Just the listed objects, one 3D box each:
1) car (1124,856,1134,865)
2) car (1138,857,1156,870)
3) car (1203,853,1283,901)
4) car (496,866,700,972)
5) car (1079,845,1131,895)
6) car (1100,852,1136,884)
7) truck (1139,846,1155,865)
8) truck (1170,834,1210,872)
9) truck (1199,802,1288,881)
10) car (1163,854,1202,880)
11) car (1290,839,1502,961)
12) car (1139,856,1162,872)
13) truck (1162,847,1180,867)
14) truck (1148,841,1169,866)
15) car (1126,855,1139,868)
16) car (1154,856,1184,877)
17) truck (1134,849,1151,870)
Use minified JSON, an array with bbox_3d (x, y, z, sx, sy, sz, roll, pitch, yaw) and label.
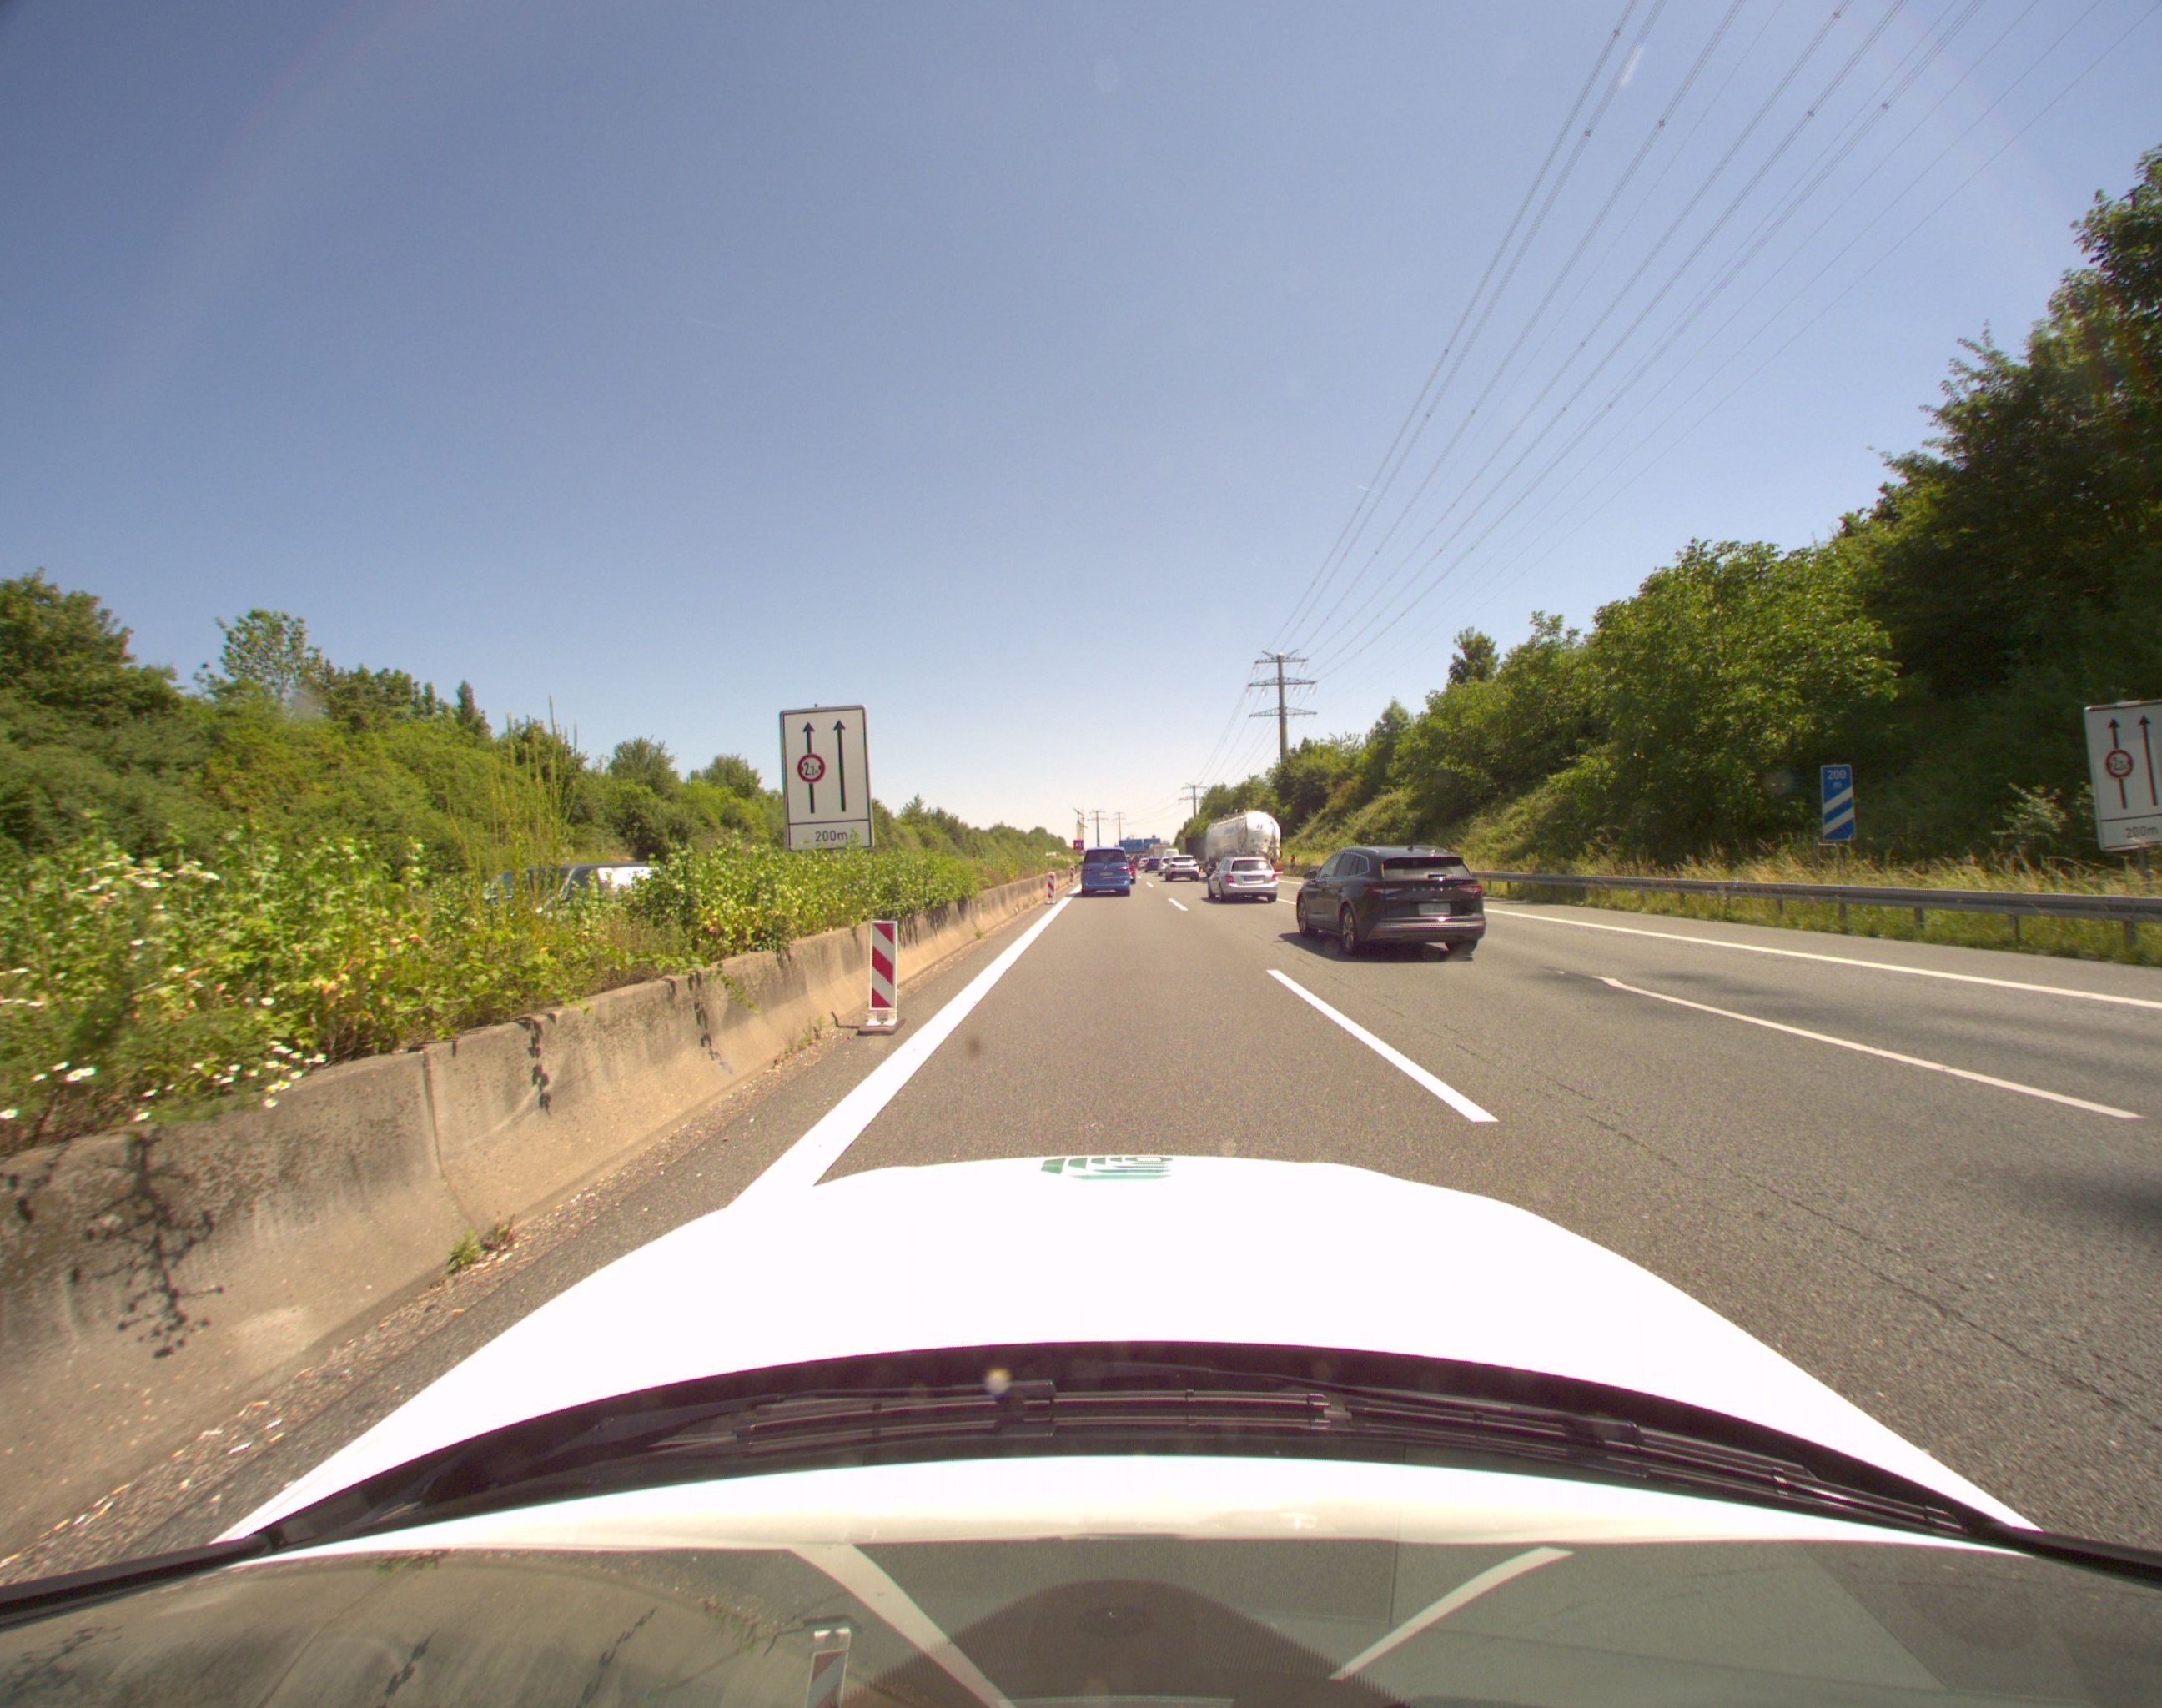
[{"bbox_3d":[10.824,1.472,184.181,1.986,2.014,4.001,0,-1,1],"label":"car"},{"bbox_3d":[7.820,1.128,96.568,1.902,1.516,4.383,0,0,1],"label":"car"},{"bbox_3d":[5.229,0.713,26.868,1.815,1.437,4.383,0,0,1],"label":"car"},{"bbox_3d":[-10.789,1.349,18.666,1.955,2.013,4.410,-2,0,0],"label":"car"},{"bbox_3d":[0.892,0.612,32.569,1.865,1.879,4.381,0,-1,-1],"label":"car"},{"bbox_3d":[2.009,0.769,45.713,1.901,1.631,4.384,-1,-1,1],"label":"car"},{"bbox_3d":[15.731,0.398,194.546,2.927,4.291,12.555,0,0,1],"label":"truck"},{"bbox_3d":[10.882,-0.072,82.549,2.635,3.539,12.555,0,0,1],"label":"truck"},{"bbox_3d":[9.664,-0.593,50.694,2.635,4.072,16.445,0,0,1],"label":"truck"},{"bbox_3d":[6.013,0.770,48.786,1.902,1.508,3.921,0,0,0],"label":"car"},{"bbox_3d":[4.813,0.628,13.192,1.821,1.614,4.432,-1,0,2],"label":"car"},{"bbox_3d":[6.697,0.985,79.284,1.902,1.516,4.383,0,0,1],"label":"car"},{"bbox_3d":[12.682,0.471,115.268,1.986,2.724,5.681,0,-1,1],"label":"truck"},{"bbox_3d":[13.792,0.025,145.381,2.927,4.291,12.555,0,0,1],"label":"truck"},{"bbox_3d":[8.487,1.249,134.038,1.986,2.014,4.001,0,-1,1],"label":"car"},{"bbox_3d":[6.964,0.964,64.842,1.902,1.569,4.383,0,0,1],"label":"car"},{"bbox_3d":[8.351,0.788,110.848,1.986,2.724,5.681,0,-1,1],"label":"truck"}]
